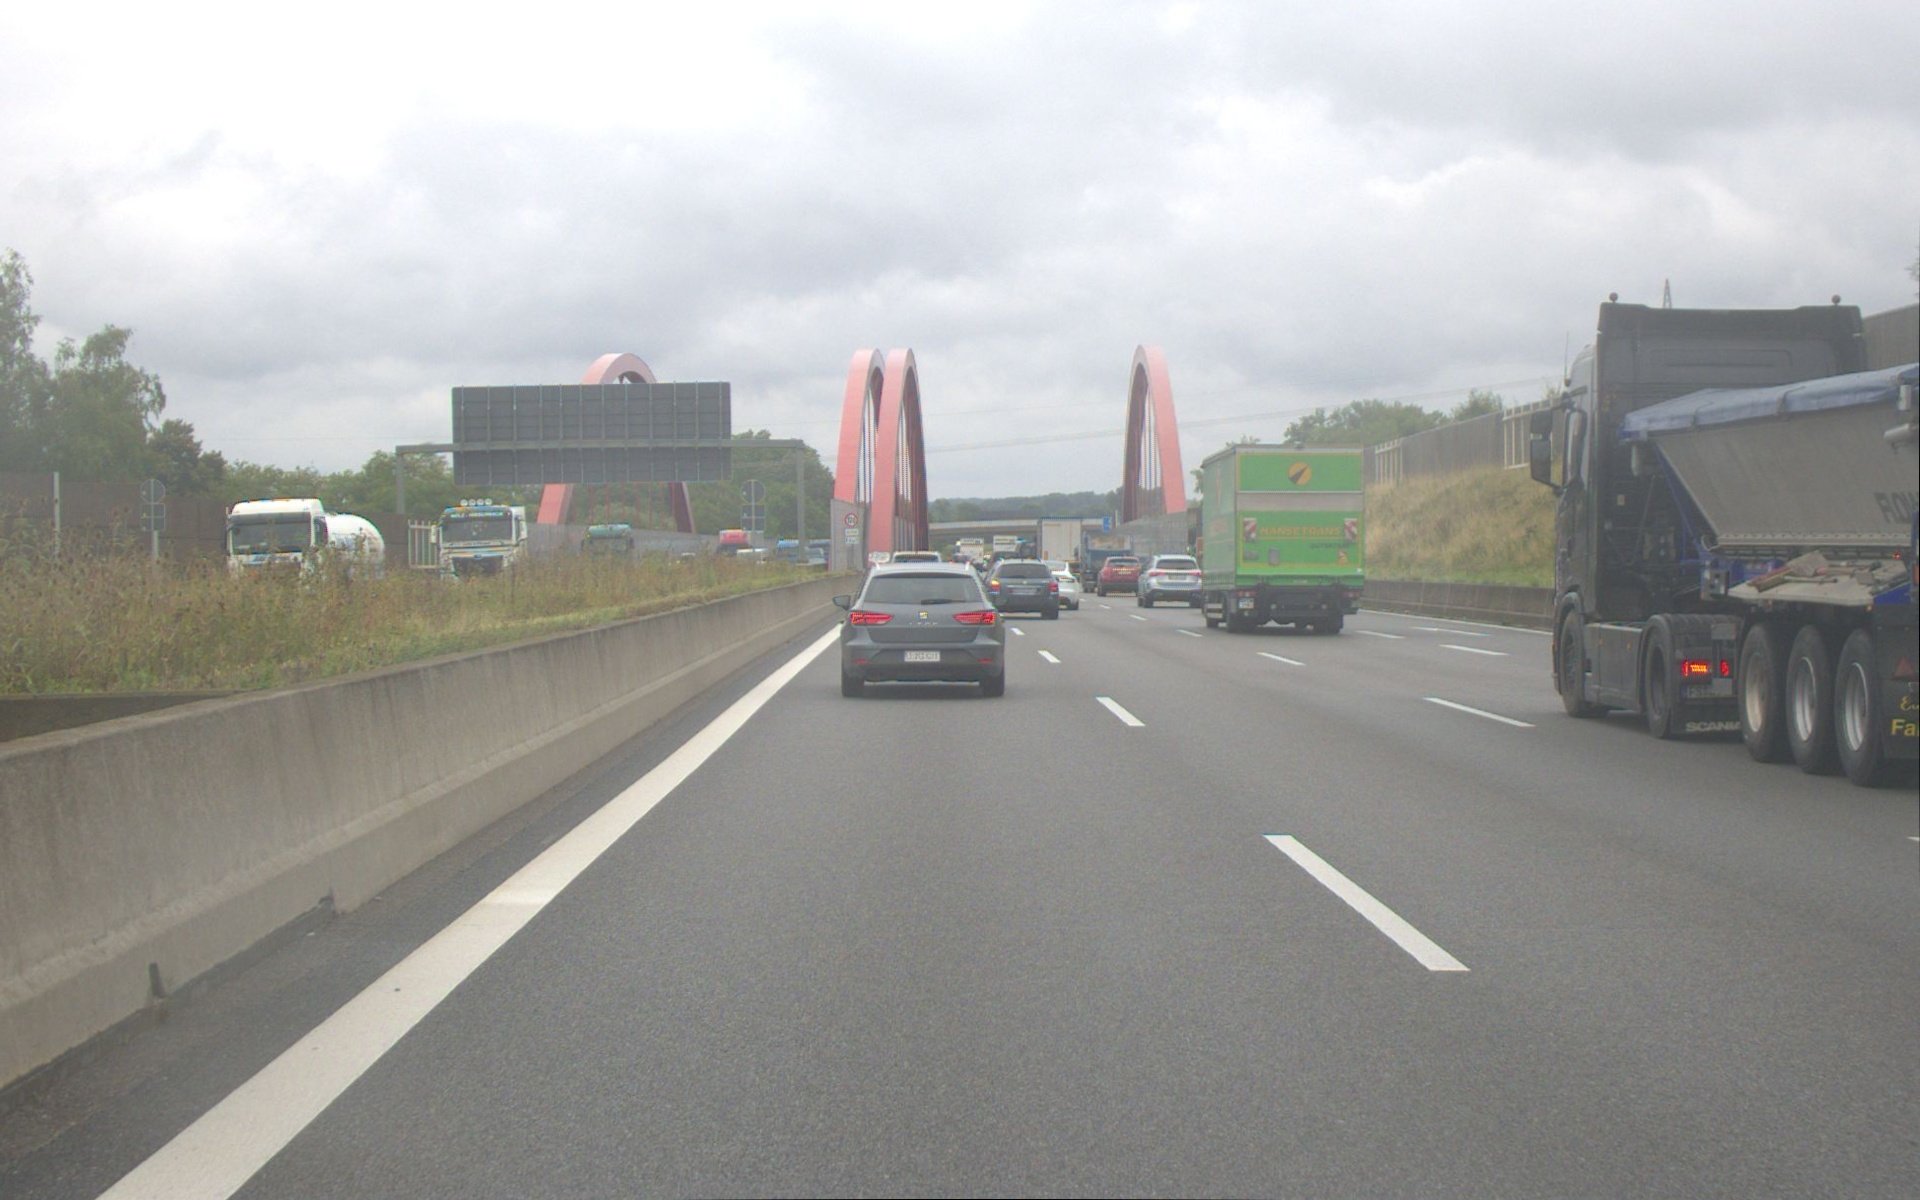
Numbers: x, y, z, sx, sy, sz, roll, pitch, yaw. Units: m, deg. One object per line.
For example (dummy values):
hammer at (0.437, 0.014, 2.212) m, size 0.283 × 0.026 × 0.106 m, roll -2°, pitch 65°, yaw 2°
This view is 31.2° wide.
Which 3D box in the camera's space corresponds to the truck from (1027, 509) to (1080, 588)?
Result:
truck at (5.789, -3.181, 213.757) m, size 3.044 × 4.718 × 7.680 m, roll 1°, pitch 1°, yaw 0°

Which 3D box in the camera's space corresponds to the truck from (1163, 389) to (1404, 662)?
truck at (6.649, -1.516, 72.701) m, size 3.997 × 5.248 × 11.220 m, roll 1°, pitch 1°, yaw 0°

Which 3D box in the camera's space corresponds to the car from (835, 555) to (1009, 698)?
car at (-0.372, 0.244, 37.260) m, size 1.764 × 1.448 × 4.000 m, roll 1°, pitch 1°, yaw 1°

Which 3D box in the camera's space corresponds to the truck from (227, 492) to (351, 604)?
truck at (-18.848, -1.465, 96.822) m, size 2.621 × 3.009 × 5.614 m, roll 1°, pitch 1°, yaw -3°

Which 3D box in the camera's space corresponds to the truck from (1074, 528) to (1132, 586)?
truck at (6.316, -1.897, 152.580) m, size 2.361 × 2.498 × 6.144 m, roll 1°, pitch 1°, yaw 0°

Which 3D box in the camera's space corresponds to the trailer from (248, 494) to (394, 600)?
trailer at (-19.061, -1.595, 103.155) m, size 2.611 × 2.979 × 10.798 m, roll 0°, pitch 1°, yaw -1°

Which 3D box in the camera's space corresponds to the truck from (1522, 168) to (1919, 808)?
truck at (7.127, -0.767, 27.524) m, size 2.812 × 3.936 × 12.715 m, roll 0°, pitch 1°, yaw -2°

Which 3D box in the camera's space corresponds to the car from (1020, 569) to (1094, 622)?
car at (2.790, -0.142, 99.506) m, size 1.993 × 1.481 × 4.000 m, roll 0°, pitch 1°, yaw -1°

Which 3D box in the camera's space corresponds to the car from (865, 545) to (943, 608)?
car at (-1.483, -0.629, 90.526) m, size 1.993 × 1.579 × 4.000 m, roll -1°, pitch 1°, yaw -1°

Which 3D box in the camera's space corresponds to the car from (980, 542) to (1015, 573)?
car at (2.200, -2.492, 200.721) m, size 1.993 × 1.809 × 4.000 m, roll 1°, pitch 1°, yaw 0°

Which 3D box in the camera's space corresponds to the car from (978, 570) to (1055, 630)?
car at (1.369, -0.018, 84.256) m, size 1.782 × 1.401 × 3.626 m, roll 0°, pitch 1°, yaw 0°

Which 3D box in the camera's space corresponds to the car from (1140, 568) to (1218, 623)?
car at (6.743, -0.147, 106.516) m, size 1.993 × 1.613 × 5.328 m, roll 1°, pitch 1°, yaw -1°

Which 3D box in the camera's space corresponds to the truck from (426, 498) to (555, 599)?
truck at (-14.966, -1.633, 110.168) m, size 2.956 × 3.056 × 8.728 m, roll 1°, pitch 1°, yaw 0°

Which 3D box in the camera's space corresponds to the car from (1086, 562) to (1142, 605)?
car at (6.118, -0.666, 136.962) m, size 1.957 × 1.641 × 4.000 m, roll 1°, pitch 1°, yaw -1°
